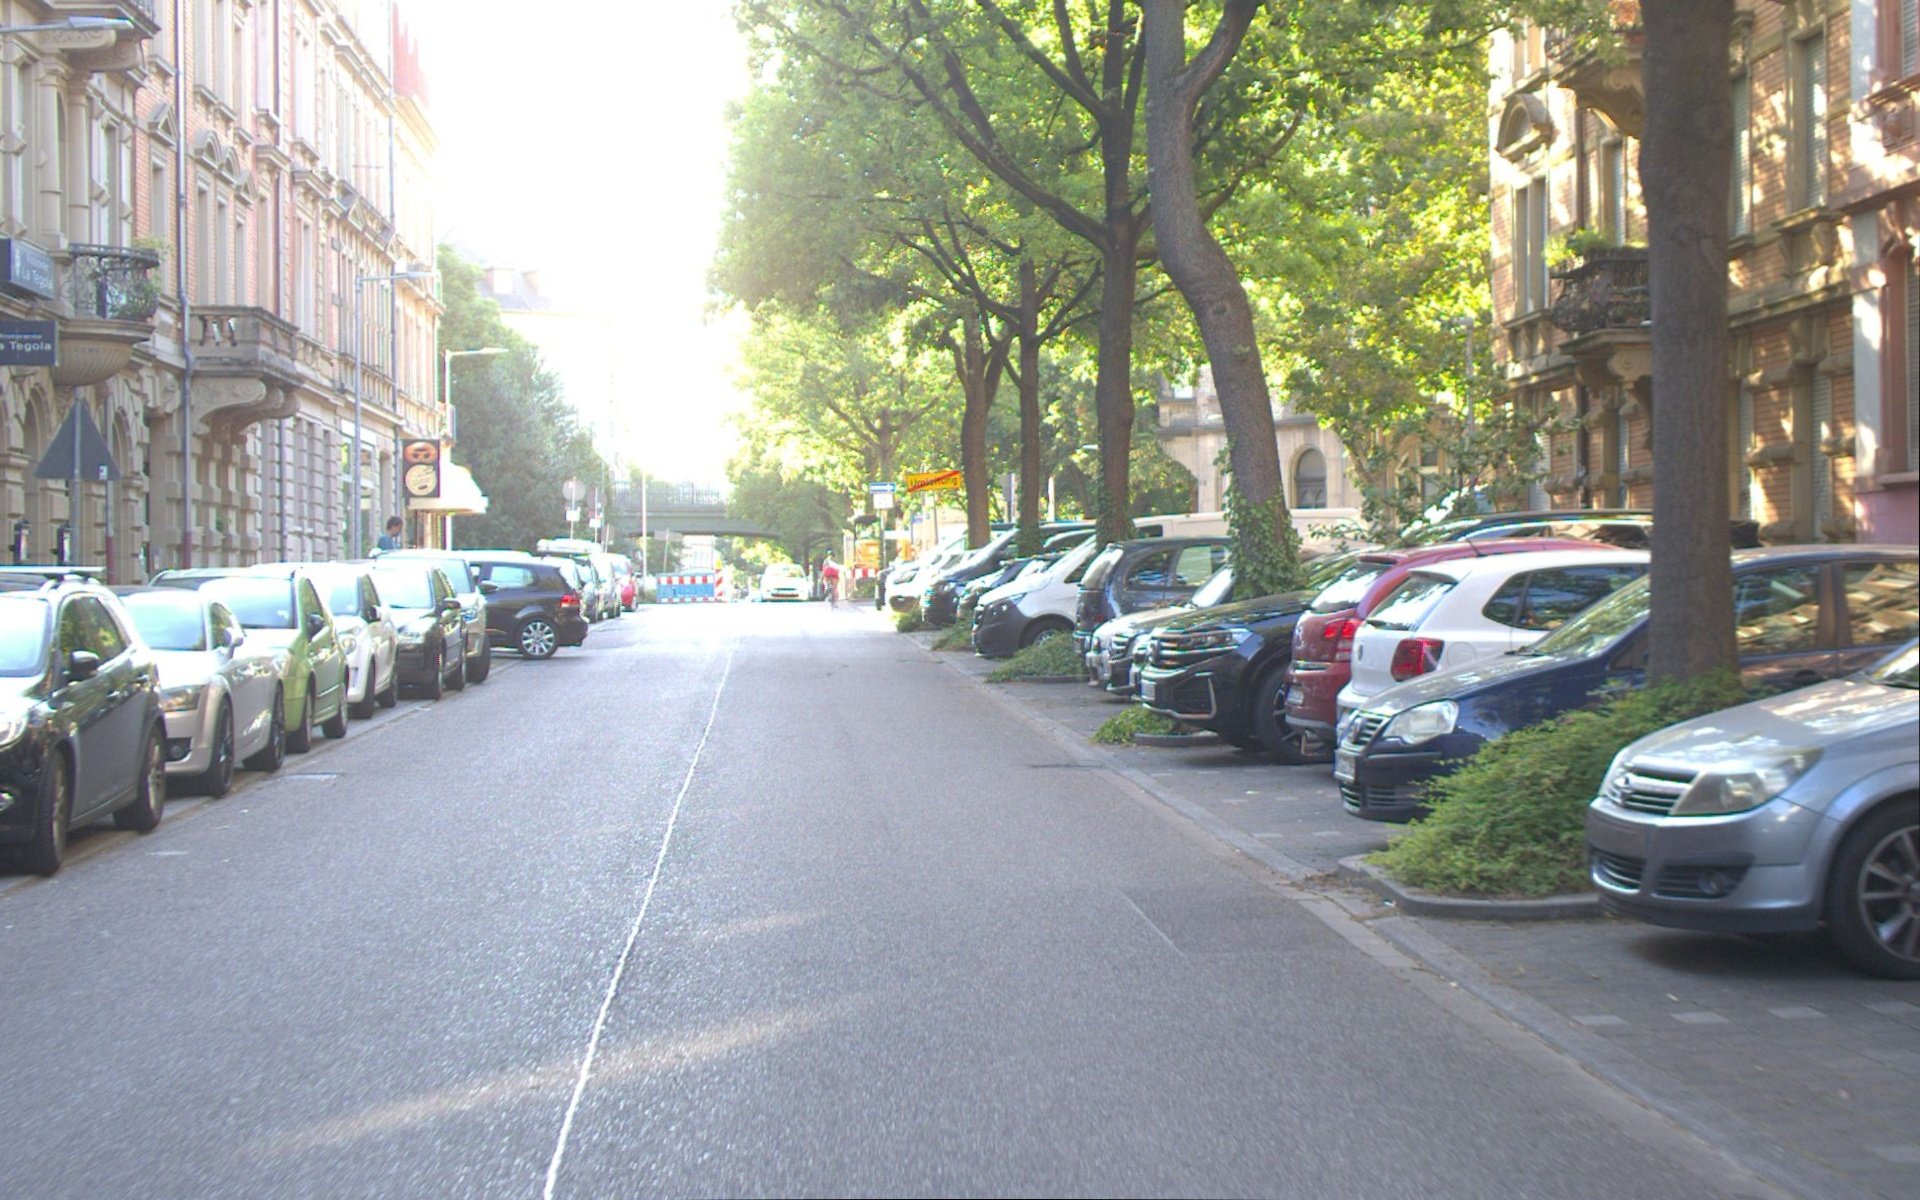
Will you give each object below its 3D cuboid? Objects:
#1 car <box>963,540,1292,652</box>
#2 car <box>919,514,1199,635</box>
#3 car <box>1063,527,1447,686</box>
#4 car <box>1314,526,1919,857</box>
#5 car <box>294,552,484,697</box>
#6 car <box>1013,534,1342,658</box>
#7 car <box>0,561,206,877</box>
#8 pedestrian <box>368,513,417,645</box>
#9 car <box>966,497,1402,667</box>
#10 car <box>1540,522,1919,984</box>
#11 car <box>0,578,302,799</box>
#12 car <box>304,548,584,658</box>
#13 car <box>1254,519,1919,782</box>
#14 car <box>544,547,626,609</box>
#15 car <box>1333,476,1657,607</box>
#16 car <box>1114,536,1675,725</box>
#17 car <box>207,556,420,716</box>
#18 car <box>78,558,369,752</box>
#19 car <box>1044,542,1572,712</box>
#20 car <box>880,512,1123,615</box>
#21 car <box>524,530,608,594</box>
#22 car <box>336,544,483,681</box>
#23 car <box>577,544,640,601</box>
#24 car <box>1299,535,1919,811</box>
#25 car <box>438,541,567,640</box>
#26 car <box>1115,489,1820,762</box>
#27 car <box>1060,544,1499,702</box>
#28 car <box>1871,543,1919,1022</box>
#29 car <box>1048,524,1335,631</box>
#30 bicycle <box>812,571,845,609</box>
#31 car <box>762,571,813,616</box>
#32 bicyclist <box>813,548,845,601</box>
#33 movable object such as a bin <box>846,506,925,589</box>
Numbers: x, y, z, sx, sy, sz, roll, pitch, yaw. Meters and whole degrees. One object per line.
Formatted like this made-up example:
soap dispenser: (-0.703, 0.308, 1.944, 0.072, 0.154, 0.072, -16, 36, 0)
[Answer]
car: (2.284, -0.068, 47.659, 4.369, 1.450, 1.934, -1, 1, -2)
car: (1.686, -0.453, 59.552, 4.614, 2.007, 2.000, -1, 1, -5)
car: (3.189, 0.051, 37.540, 3.883, 1.643, 1.725, -1, 1, -8)
car: (3.921, 0.391, 17.200, 3.986, 1.383, 1.678, -3, 1, -3)
car: (-6.345, 0.236, 38.528, 1.647, 1.468, 4.001, 2, 1, -4)
car: (2.851, -0.068, 45.389, 3.986, 1.469, 1.782, -2, 1, -10)
car: (-5.391, 0.543, 18.705, 1.821, 1.472, 4.424, 1, 1, -3)
pedestrian: (-8.156, -0.306, 49.389, 0.638, 1.881, 0.592, -1, 1, -11)
car: (2.683, -0.198, 42.141, 5.091, 1.933, 2.158, -1, -3, -3)
car: (4.421, 0.476, 12.524, 4.221, 1.530, 1.801, 0, 1, -6)
car: (-5.667, 0.541, 23.575, 1.705, 1.318, 4.102, -1, 1, -3)
car: (-7.596, 0.028, 50.682, 3.986, 1.524, 1.826, -1, 1, -9)
car: (4.074, 0.297, 22.521, 3.986, 1.585, 1.783, -1, 1, -6)
car: (-9.151, -0.553, 84.162, 1.725, 1.432, 3.996, 1, 1, -3)
car: (10.555, -1.172, 68.087, 5.893, 2.528, 2.381, 0, 1, -9)
car: (3.687, 0.238, 29.754, 4.552, 1.524, 2.000, -1, 1, -1)
car: (-6.403, 0.313, 34.388, 1.581, 1.468, 4.001, -1, 1, -3)
car: (-5.963, 0.397, 28.244, 1.705, 1.434, 3.959, -1, 1, -3)
car: (3.236, 0.225, 32.494, 4.658, 1.498, 1.933, -1, 1, -6)
car: (0.848, -0.782, 72.394, 4.973, 2.089, 2.106, -1, 1, -3)
car: (-9.023, -0.883, 78.937, 1.764, 1.432, 4.301, 0, 1, -5)
car: (-6.890, 0.117, 43.323, 1.647, 1.569, 4.050, 2, 1, -7)
car: (-9.651, -0.750, 94.482, 1.669, 1.525, 4.001, 0, 1, -5)
car: (4.118, 0.377, 19.924, 3.986, 1.457, 1.783, -1, 1, -6)
car: (-7.501, -0.186, 56.646, 1.741, 1.562, 3.895, -1, 1, -3)
car: (3.593, 0.151, 24.803, 4.644, 1.696, 1.882, -2, 1, -6)
car: (3.185, 0.203, 34.721, 4.104, 1.498, 1.811, -1, 1, -7)
car: (5.002, 0.558, 10.196, 4.100, 1.464, 1.801, 0, 1, -2)
car: (3.419, -0.346, 51.275, 4.081, 1.492, 1.843, -1, 1, -2)
bicycle: (-3.452, -0.259, 89.873, 0.803, 0.965, 2.109, 1, 1, -4)
car: (-6.160, -0.244, 122.393, 1.749, 1.504, 4.001, -1, 1, -3)
bicyclist: (-3.428, -0.673, 89.872, 0.803, 1.378, 0.985, 1, 0, -4)
movable object such as a bin: (-2.421, -1.705, 112.469, 1.994, 2.690, 3.109, 0, 0, 10)
